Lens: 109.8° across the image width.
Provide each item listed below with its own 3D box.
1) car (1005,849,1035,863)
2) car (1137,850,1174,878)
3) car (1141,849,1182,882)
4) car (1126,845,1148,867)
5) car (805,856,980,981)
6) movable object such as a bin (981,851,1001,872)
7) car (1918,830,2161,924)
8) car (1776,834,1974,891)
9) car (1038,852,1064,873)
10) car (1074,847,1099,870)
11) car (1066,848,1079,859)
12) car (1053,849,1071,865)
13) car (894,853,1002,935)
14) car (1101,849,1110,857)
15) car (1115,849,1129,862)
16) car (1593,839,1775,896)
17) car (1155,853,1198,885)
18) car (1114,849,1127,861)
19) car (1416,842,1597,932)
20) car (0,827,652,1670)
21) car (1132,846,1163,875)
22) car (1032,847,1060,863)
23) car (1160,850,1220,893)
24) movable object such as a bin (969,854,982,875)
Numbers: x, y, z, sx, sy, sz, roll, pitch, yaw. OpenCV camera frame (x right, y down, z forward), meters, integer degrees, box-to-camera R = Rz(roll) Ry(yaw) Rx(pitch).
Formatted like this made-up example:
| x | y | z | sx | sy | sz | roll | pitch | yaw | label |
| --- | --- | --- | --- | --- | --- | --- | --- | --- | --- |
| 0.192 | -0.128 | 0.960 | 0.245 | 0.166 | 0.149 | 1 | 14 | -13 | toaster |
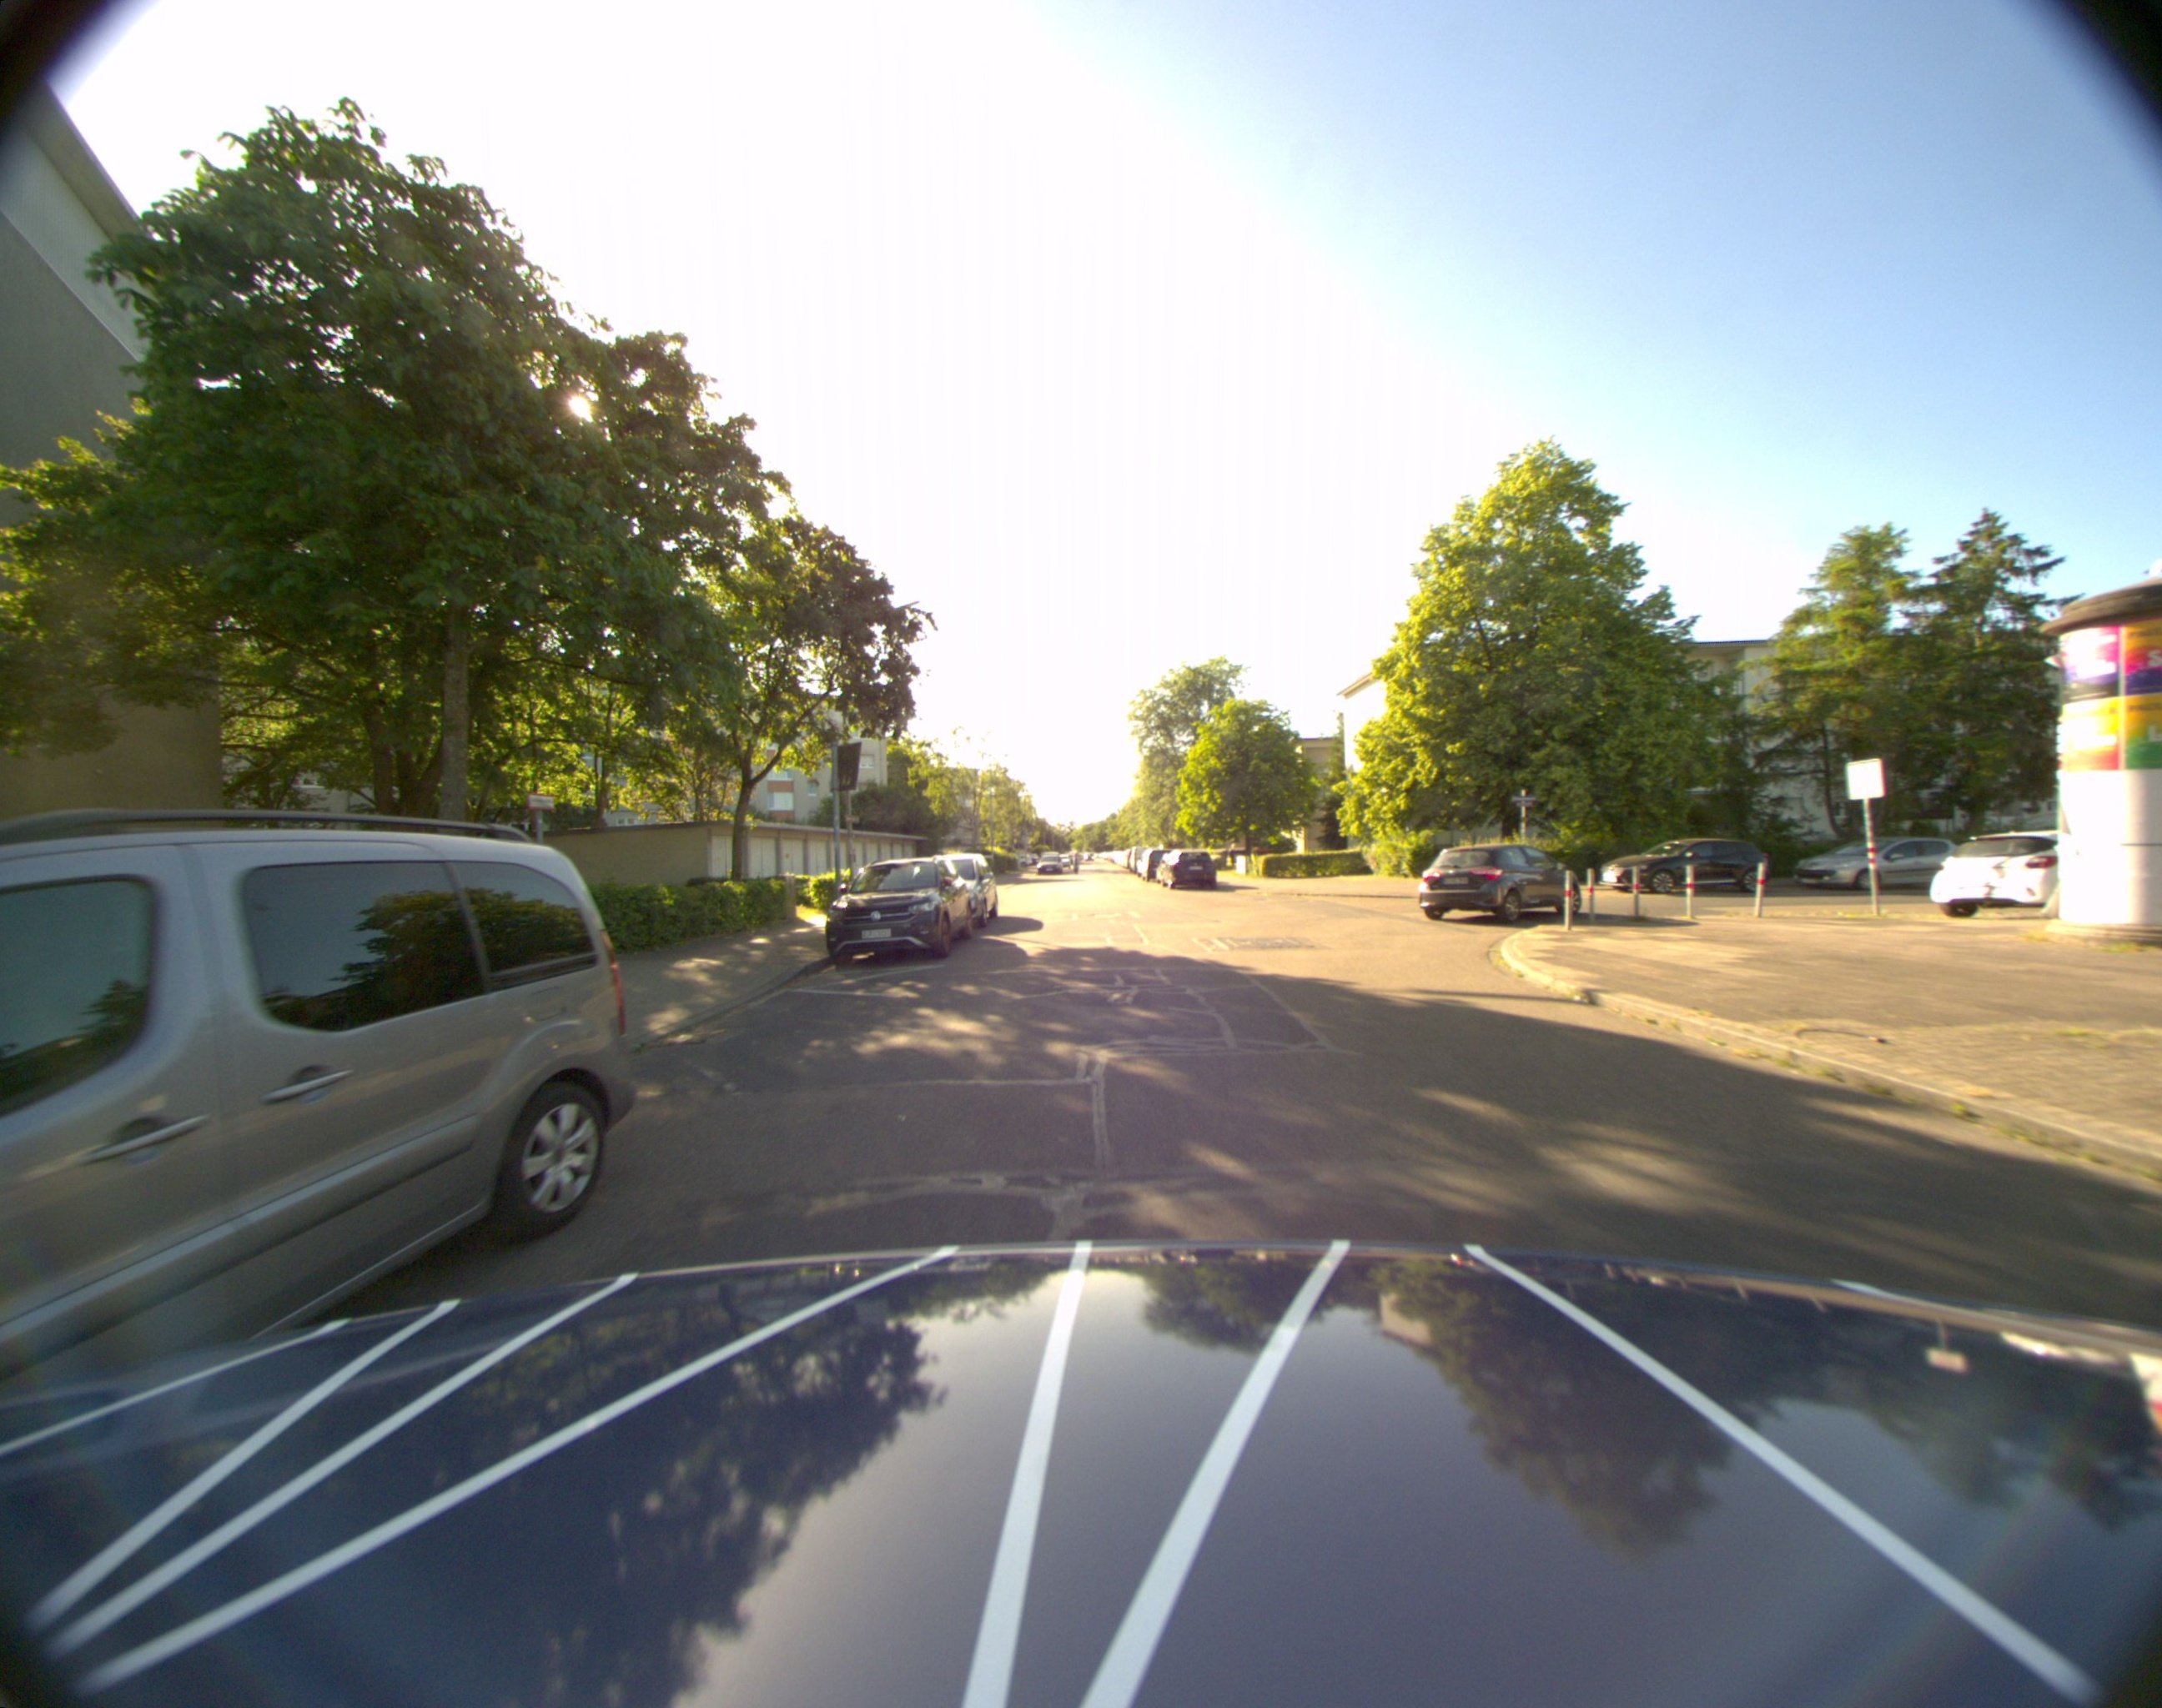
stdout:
| x | y | z | sx | sy | sz | roll | pitch | yaw | label |
| --- | --- | --- | --- | --- | --- | --- | --- | --- | --- |
| -7.523 | 0.225 | 93.110 | 3.504 | 1.499 | 1.602 | -4 | 2 | -5 | car |
| 4.529 | 0.603 | 46.618 | 1.732 | 1.630 | 4.169 | 0 | 0 | -1 | car |
| 4.297 | 0.569 | 40.930 | 1.817 | 1.672 | 3.648 | 0 | 0 | 1 | car |
| 5.110 | 0.168 | 69.861 | 1.732 | 1.941 | 3.812 | 0 | 0 | 0 | car |
| -2.890 | 0.901 | 12.613 | 1.809 | 1.584 | 4.023 | -4 | 1 | 0 | car |
| -6.260 | 0.500 | 53.128 | 1.278 | 1.434 | 1.179 | 0 | 2 | -1 | movable object such as a bin |
| 16.872 | 0.337 | 12.867 | 3.528 | 1.453 | 1.737 | -1 | 1 | -2 | car |
| 22.674 | 0.222 | 21.809 | 3.925 | 1.534 | 1.746 | -1 | 1 | -2 | car |
| -2.273 | 0.597 | 57.686 | 1.732 | 1.462 | 3.812 | -3 | 0 | 0 | car |
| 0.405 | 0.311 | 57.049 | 1.732 | 1.586 | 3.812 | -3 | 0 | 0 | car |
| -1.241 | -0.042 | 113.881 | 1.732 | 1.586 | 3.812 | -3 | 0 | 0 | car |
| -1.935 | 0.287 | 79.804 | 1.732 | 1.586 | 3.812 | -3 | 0 | 0 | car |
| -2.896 | 0.806 | 17.462 | 1.773 | 1.601 | 4.371 | -1 | 0 | -1 | car |
| 5.136 | -0.205 | 160.098 | 1.632 | 1.619 | 3.555 | 0 | 0 | 0 | car |
| 5.612 | 0.196 | 104.040 | 1.632 | 1.619 | 3.555 | 0 | 0 | 0 | car |
| 17.330 | 0.357 | 21.964 | 3.925 | 1.534 | 1.746 | -1 | 1 | -2 | car |
| 4.505 | 0.672 | 36.234 | 1.627 | 1.428 | 3.653 | 0 | 0 | 0 | car |
| 5.621 | 0.096 | 108.744 | 1.632 | 1.619 | 3.555 | 0 | 0 | 0 | car |
| 8.689 | 0.560 | 15.405 | 4.009 | 1.547 | 1.650 | -2 | 2 | -36 | car |
| -3.248 | 0.891 | 1.691 | 1.838 | 1.780 | 4.555 | -4 | 0 | 1 | car |
| 4.737 | 0.434 | 54.509 | 1.909 | 1.930 | 4.511 | 0 | 0 | 1 | car |
| -5.050 | 0.104 | 109.236 | 3.777 | 2.002 | 1.810 | -4 | 2 | 0 | car |
| 4.319 | 0.663 | 30.805 | 1.784 | 1.564 | 4.423 | -2 | 0 | 0 | car |
| -7.307 | 0.740 | 52.575 | 0.754 | 1.434 | 0.848 | 0 | 2 | -1 | movable object such as a bin |
